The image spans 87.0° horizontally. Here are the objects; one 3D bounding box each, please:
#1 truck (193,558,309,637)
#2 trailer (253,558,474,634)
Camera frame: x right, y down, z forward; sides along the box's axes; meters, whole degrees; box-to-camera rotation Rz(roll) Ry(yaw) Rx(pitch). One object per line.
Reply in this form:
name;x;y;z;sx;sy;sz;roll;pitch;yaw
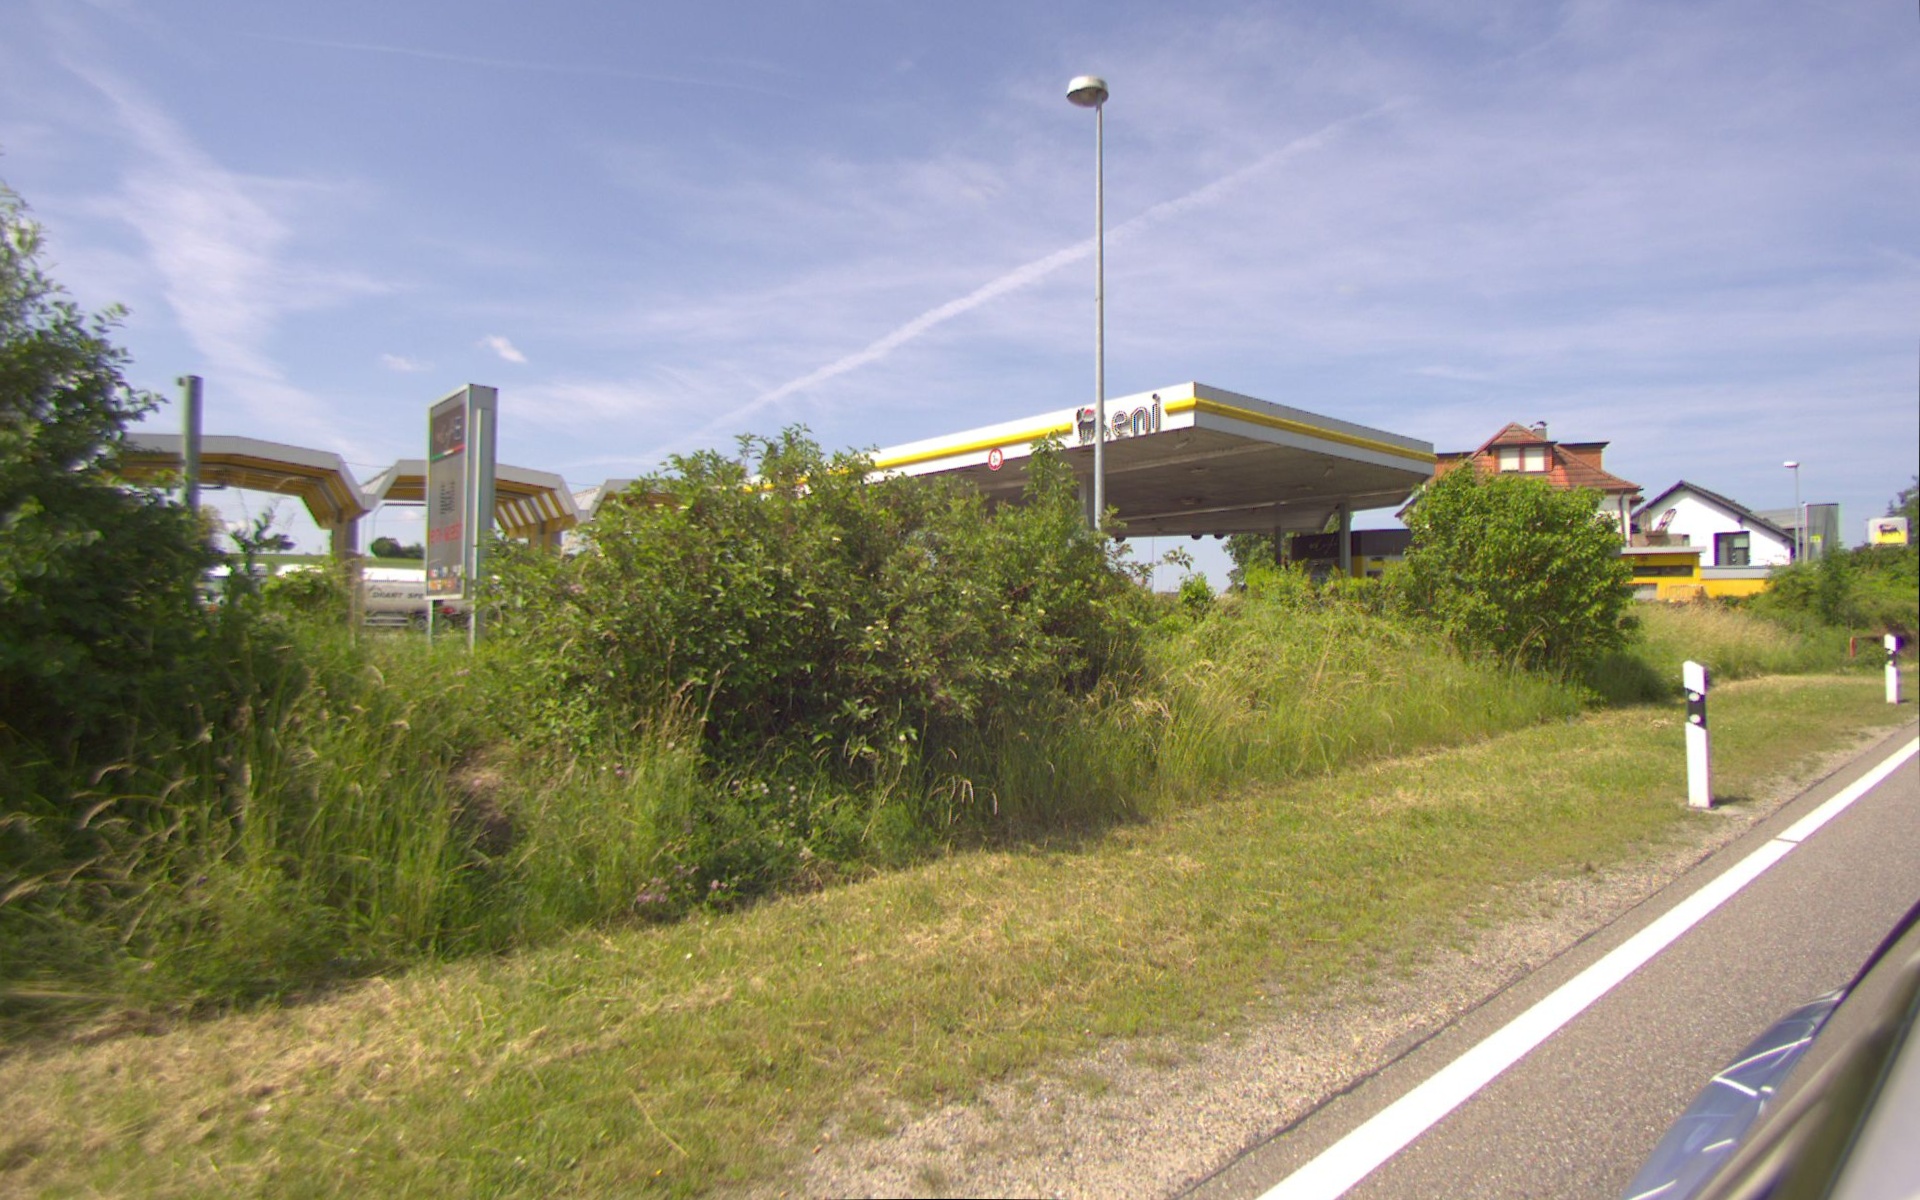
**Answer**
truck;-36.046;-0.148;51.603;1.974;3.810;4.589;0;0;19
trailer;-32.536;-0.254;55.690;10.349;3.849;1.997;-1;0;-41
